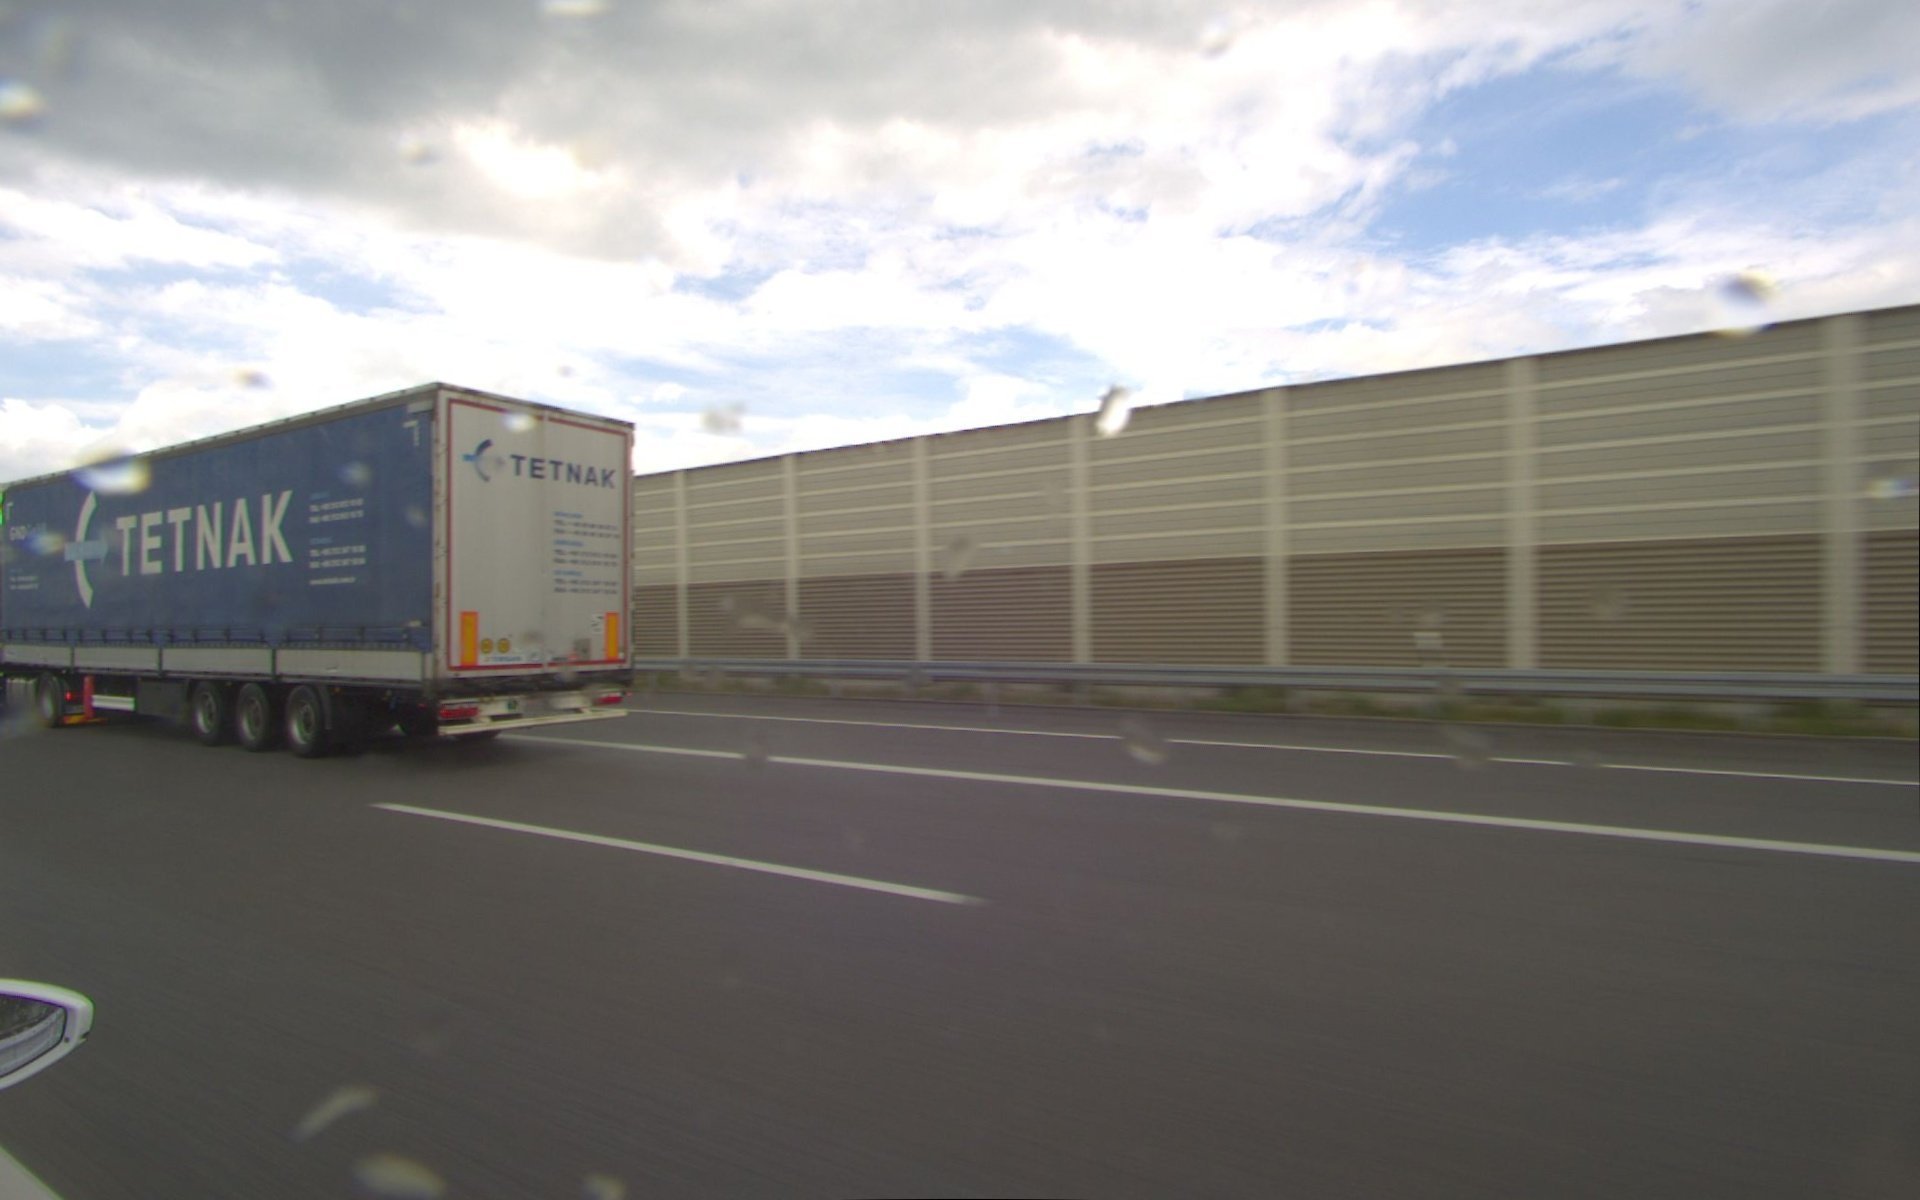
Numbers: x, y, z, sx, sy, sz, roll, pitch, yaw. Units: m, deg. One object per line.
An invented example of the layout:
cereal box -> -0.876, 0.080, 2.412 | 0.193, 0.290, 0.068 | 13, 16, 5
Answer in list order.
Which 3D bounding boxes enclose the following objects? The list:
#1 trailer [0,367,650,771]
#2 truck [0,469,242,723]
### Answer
trailer -> -10.587, -0.151, 15.141 | 14.248, 4.084, 2.756 | -1, -1, 33
truck -> -16.344, 0.013, 18.838 | 5.645, 4.087, 2.739 | -1, -1, 33
